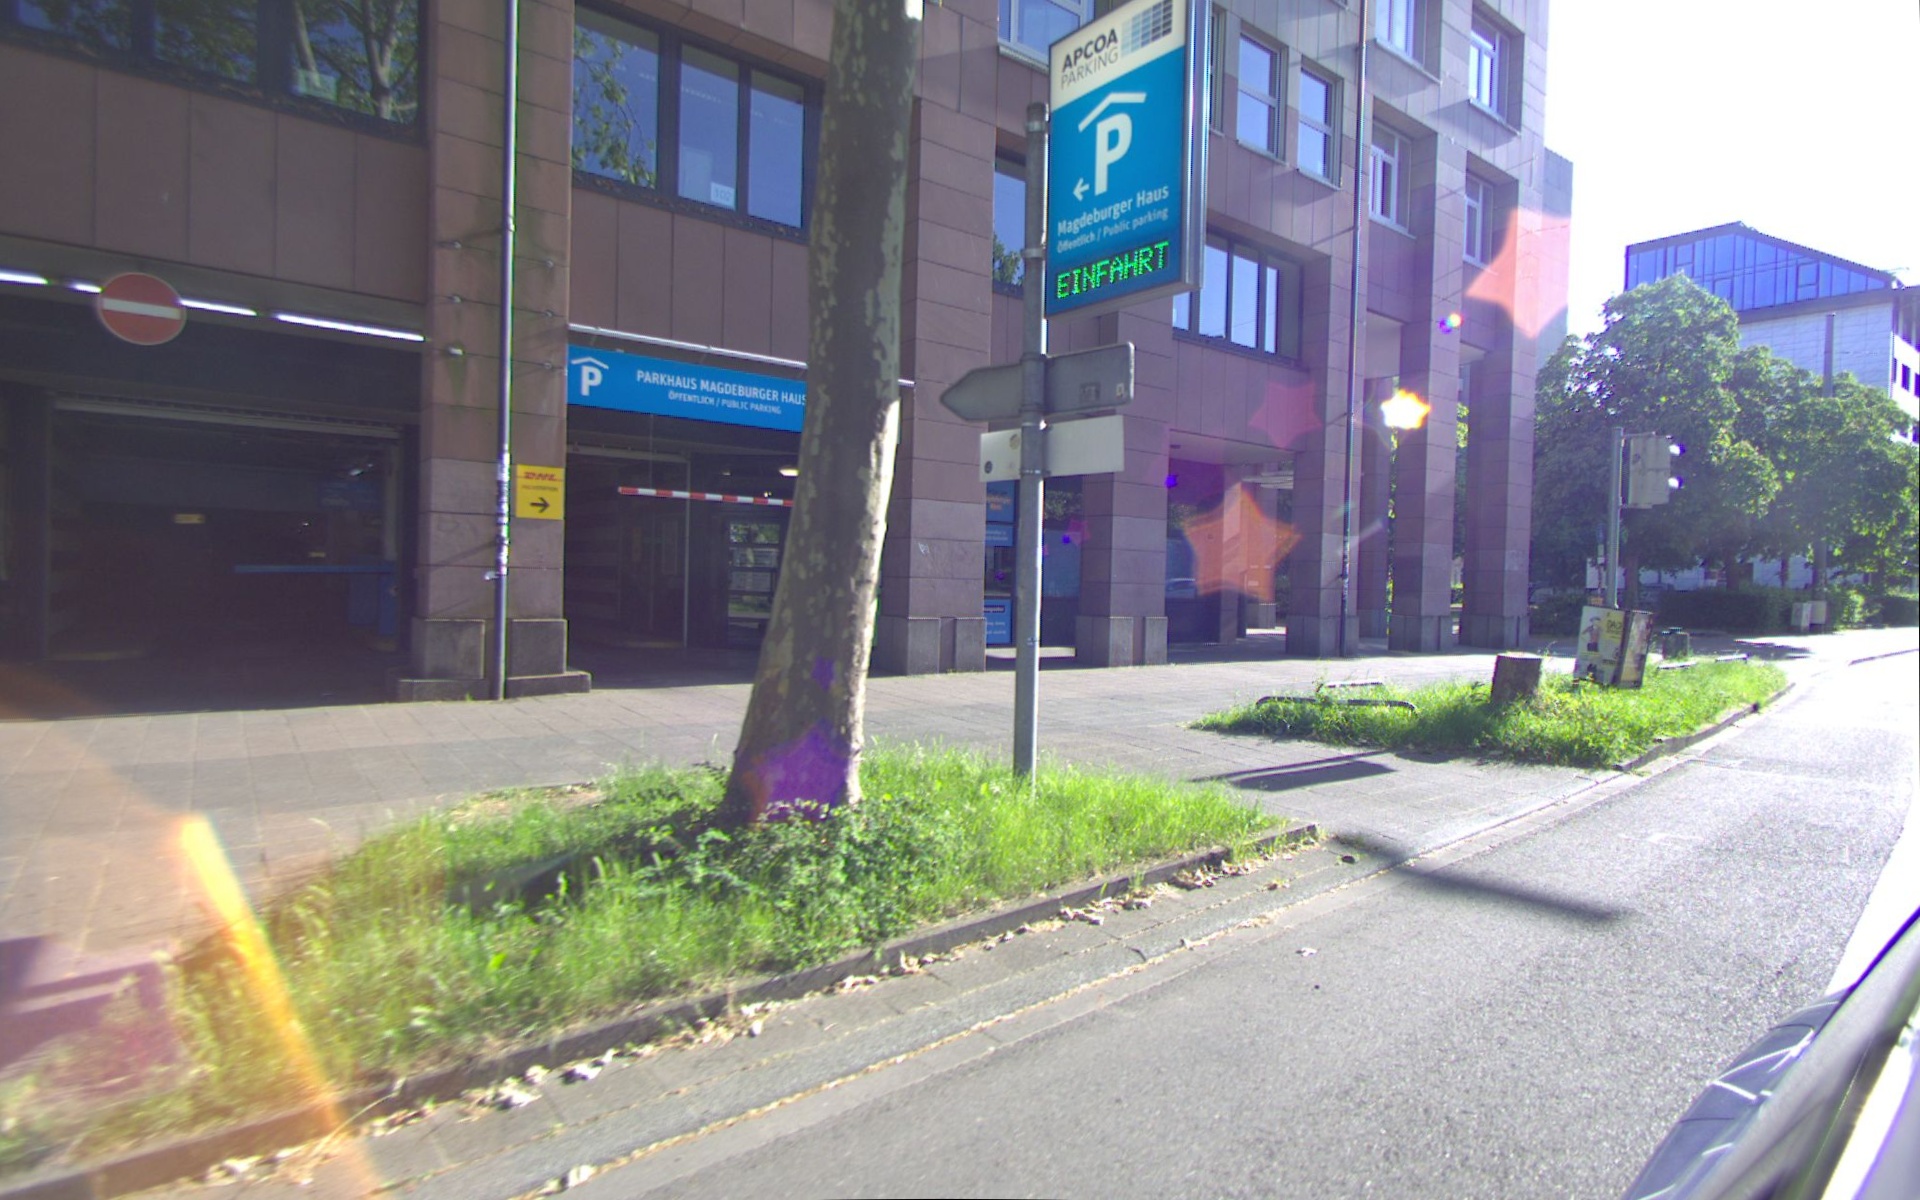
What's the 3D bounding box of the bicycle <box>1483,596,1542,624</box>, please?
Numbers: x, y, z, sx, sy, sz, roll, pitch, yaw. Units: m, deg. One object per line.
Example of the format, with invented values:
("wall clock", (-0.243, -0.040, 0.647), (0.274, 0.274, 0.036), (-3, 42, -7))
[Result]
("bicycle", (17.988, 0.328, 32.948), (1.659, 0.873, 0.318), (0, 0, 25))
